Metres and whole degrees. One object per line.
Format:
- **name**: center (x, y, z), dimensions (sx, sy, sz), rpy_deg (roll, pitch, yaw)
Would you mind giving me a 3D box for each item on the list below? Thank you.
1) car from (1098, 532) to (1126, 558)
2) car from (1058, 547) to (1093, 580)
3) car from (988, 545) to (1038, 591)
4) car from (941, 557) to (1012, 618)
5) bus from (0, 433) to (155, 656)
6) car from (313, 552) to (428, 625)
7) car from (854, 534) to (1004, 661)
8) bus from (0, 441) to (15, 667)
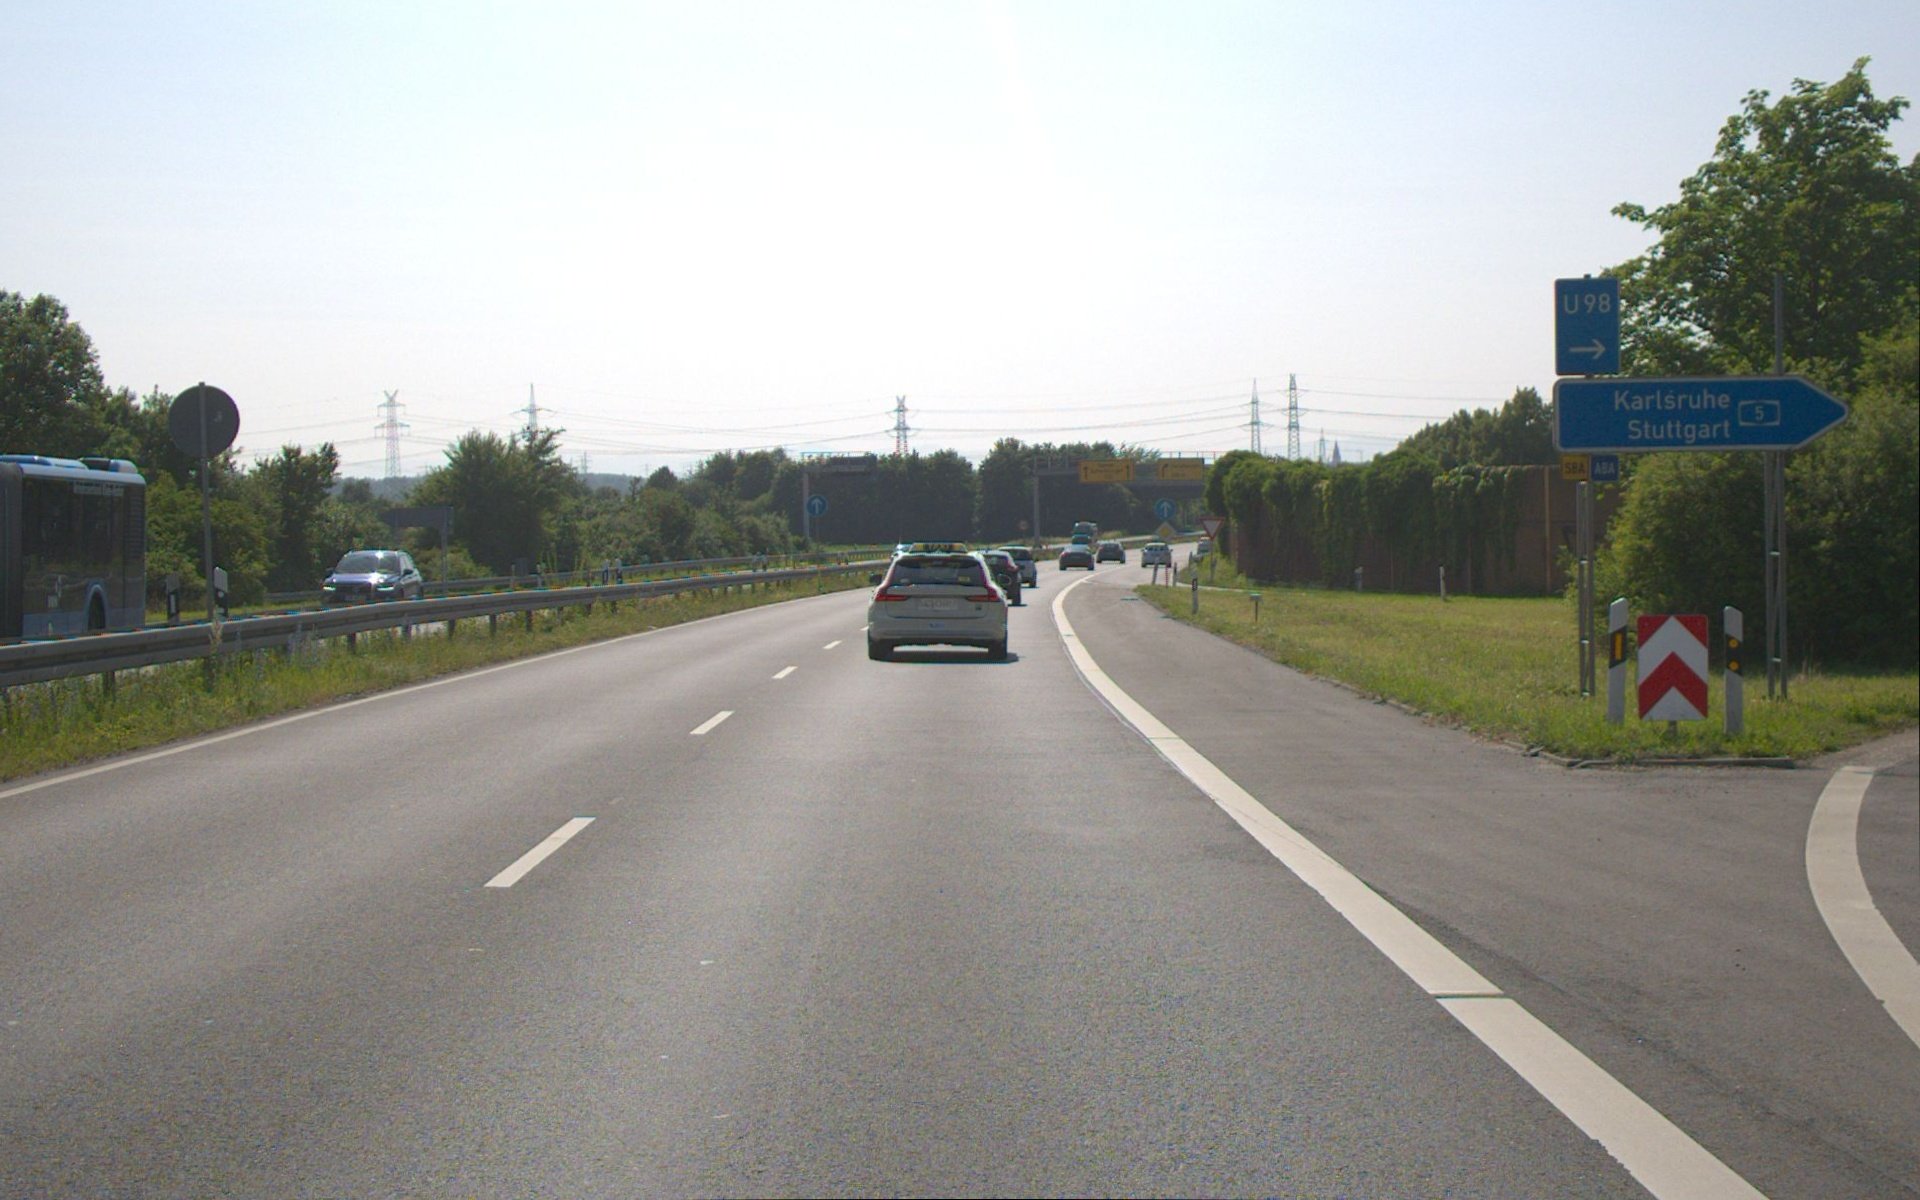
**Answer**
- **car**: center (10.242, -3.693, 231.734), dimensions (1.841, 1.692, 4.000), rpy_deg (0, 1, 4)
- **car**: center (6.547, -2.070, 194.731), dimensions (1.841, 1.796, 4.000), rpy_deg (0, 1, 4)
- **car**: center (2.037, -1.244, 131.530), dimensions (1.769, 1.731, 3.631), rpy_deg (0, 1, 3)
- **car**: center (0.452, -0.334, 90.416), dimensions (1.793, 1.538, 3.672), rpy_deg (0, 1, 1)
- **bus**: center (-14.527, -0.833, 51.987), dimensions (2.725, 3.099, 8.394), rpy_deg (-1, 1, 0)
- **car**: center (-14.114, -0.294, 82.561), dimensions (1.993, 1.600, 4.274), rpy_deg (1, 2, 1)
- **car**: center (-0.421, -0.071, 47.118), dimensions (1.958, 1.596, 4.107), rpy_deg (1, 2, 0)
- **bus**: center (-14.483, -0.529, 42.872), dimensions (2.725, 3.099, 9.836), rpy_deg (-1, 1, -1)
